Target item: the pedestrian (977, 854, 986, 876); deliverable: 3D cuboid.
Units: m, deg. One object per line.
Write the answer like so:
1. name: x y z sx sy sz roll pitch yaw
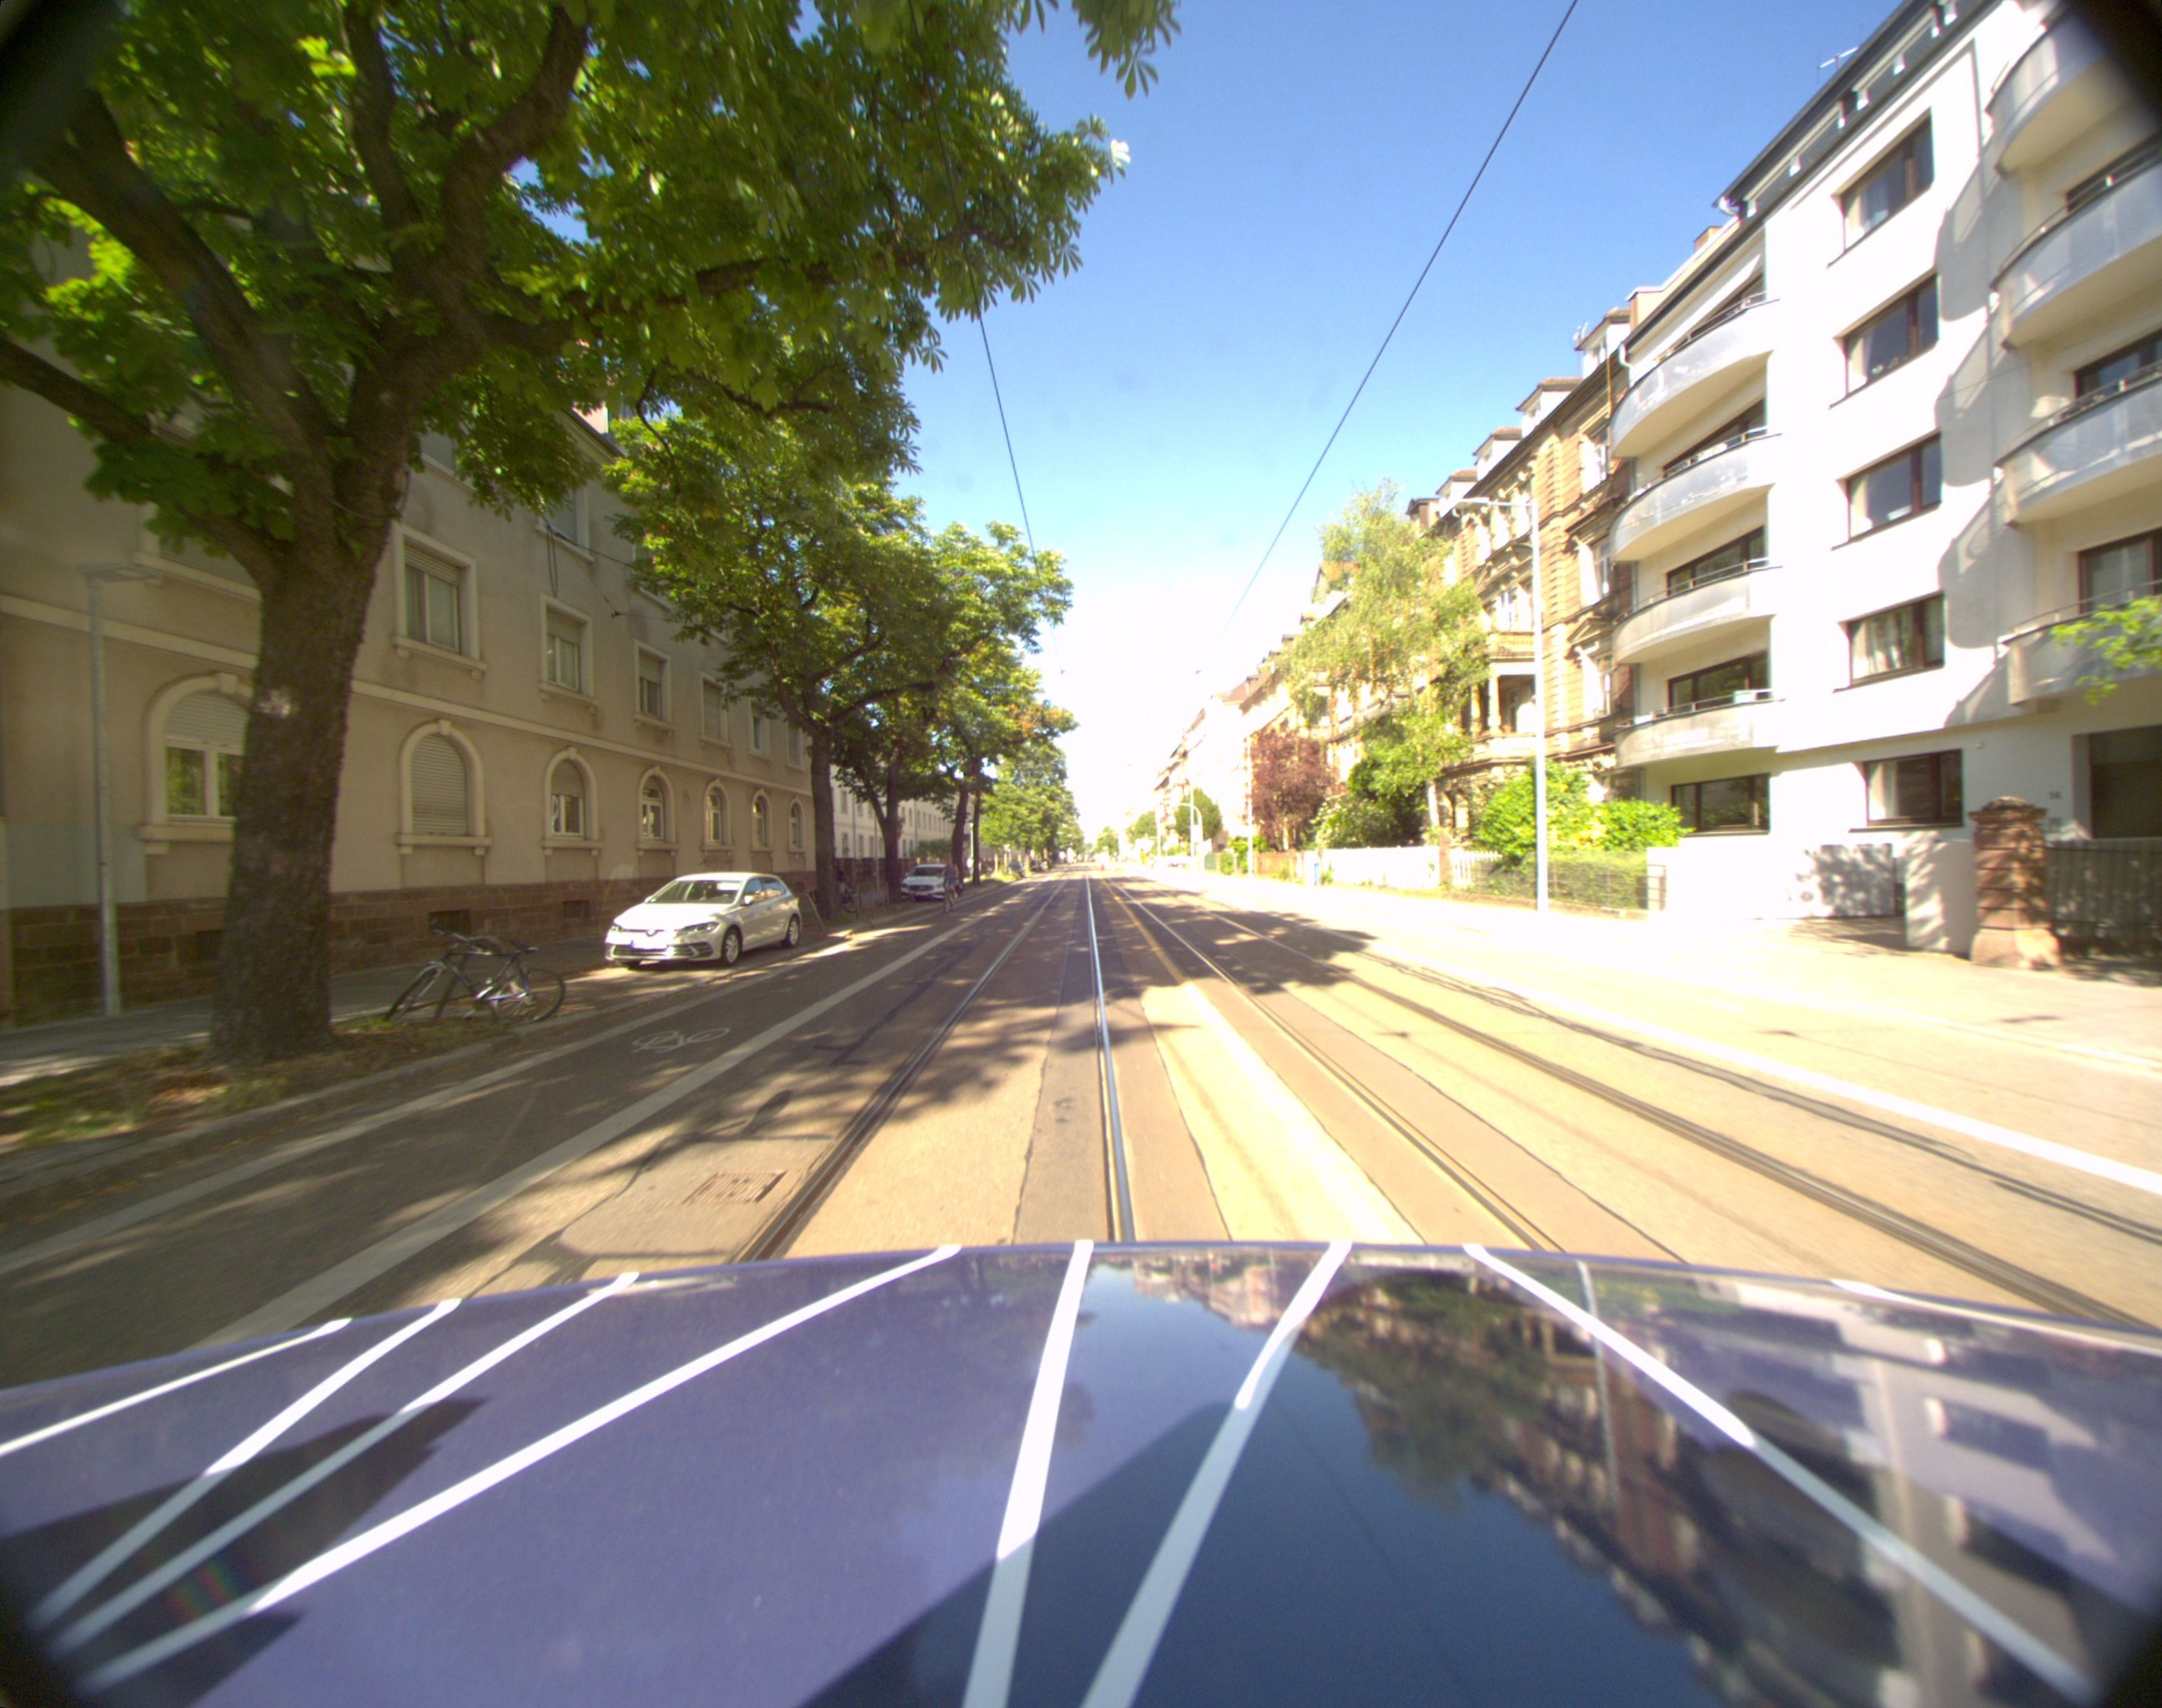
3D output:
1. pedestrian: -8.996 0.980 68.611 0.743 2.002 0.687 -2 1 -8

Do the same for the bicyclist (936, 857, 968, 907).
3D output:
1. bicyclist: -4.048 0.852 23.977 0.776 1.505 1.229 -2 0 -2

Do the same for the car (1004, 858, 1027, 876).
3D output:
1. car: -5.658 1.077 65.781 1.761 1.458 4.613 0 0 -2

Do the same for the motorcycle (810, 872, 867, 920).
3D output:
1. motorcycle: -6.874 1.157 21.663 0.763 1.243 2.263 -1 0 3

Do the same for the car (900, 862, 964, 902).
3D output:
1. car: -6.051 1.085 31.322 1.824 1.475 4.748 0 0 -2

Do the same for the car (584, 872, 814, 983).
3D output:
1. car: -6.175 1.100 12.916 1.705 1.463 4.214 0 0 1

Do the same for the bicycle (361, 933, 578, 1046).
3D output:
1. bicycle: -6.061 1.323 7.604 1.570 0.974 0.640 0 0 -8

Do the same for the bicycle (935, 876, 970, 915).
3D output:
1. bicycle: -4.034 1.274 23.976 0.776 1.080 2.058 -2 0 -2

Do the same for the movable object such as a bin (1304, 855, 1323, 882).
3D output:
1. movable object such as a bin: 10.208 0.640 33.338 0.590 1.169 0.665 -2 0 -4
